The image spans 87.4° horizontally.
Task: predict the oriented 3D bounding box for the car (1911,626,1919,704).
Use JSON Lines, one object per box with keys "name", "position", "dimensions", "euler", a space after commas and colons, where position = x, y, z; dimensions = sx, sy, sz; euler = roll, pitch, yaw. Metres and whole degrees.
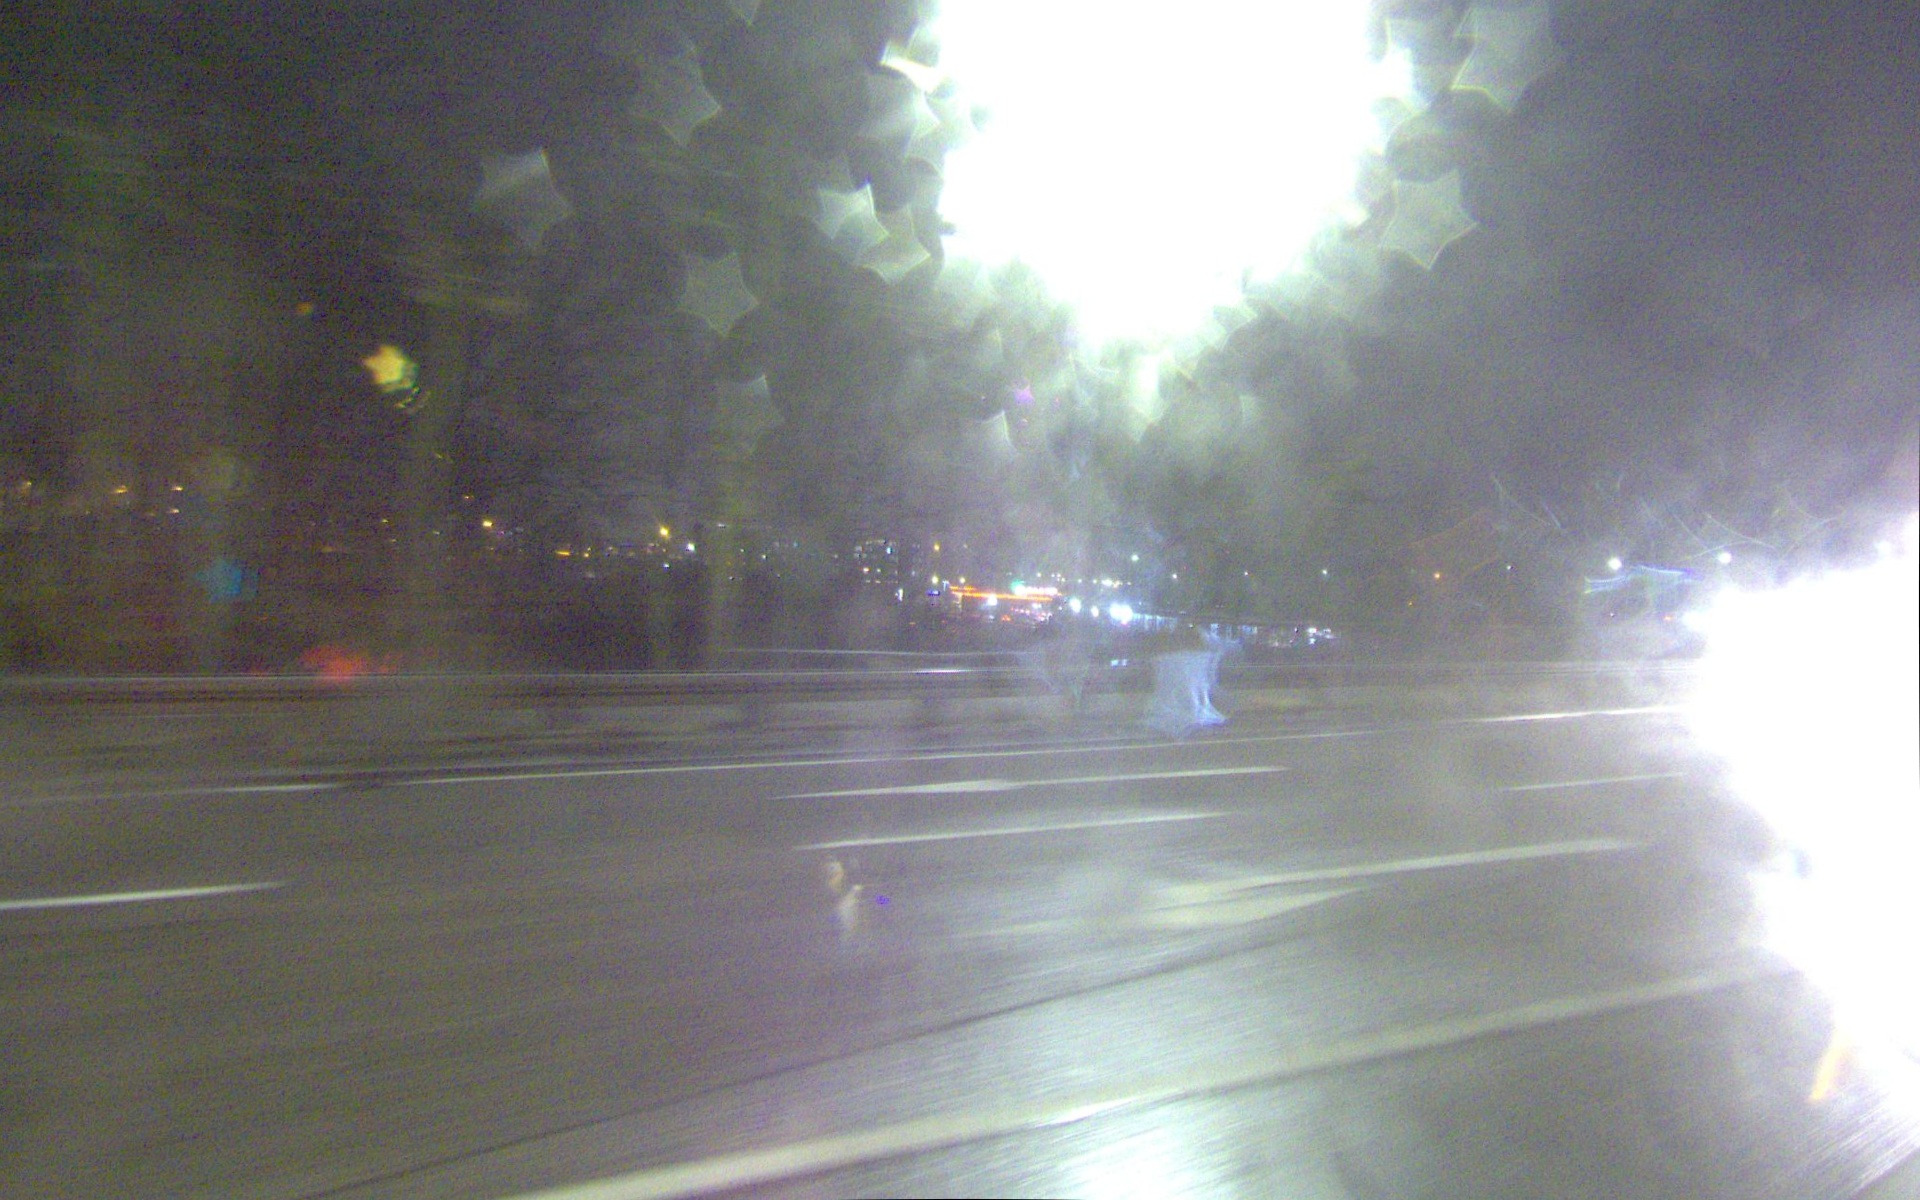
{"name": "car", "position": [21.069, 1.332, 20.370], "dimensions": [3.907, 1.537, 1.756], "euler": [1, 0, -34]}
